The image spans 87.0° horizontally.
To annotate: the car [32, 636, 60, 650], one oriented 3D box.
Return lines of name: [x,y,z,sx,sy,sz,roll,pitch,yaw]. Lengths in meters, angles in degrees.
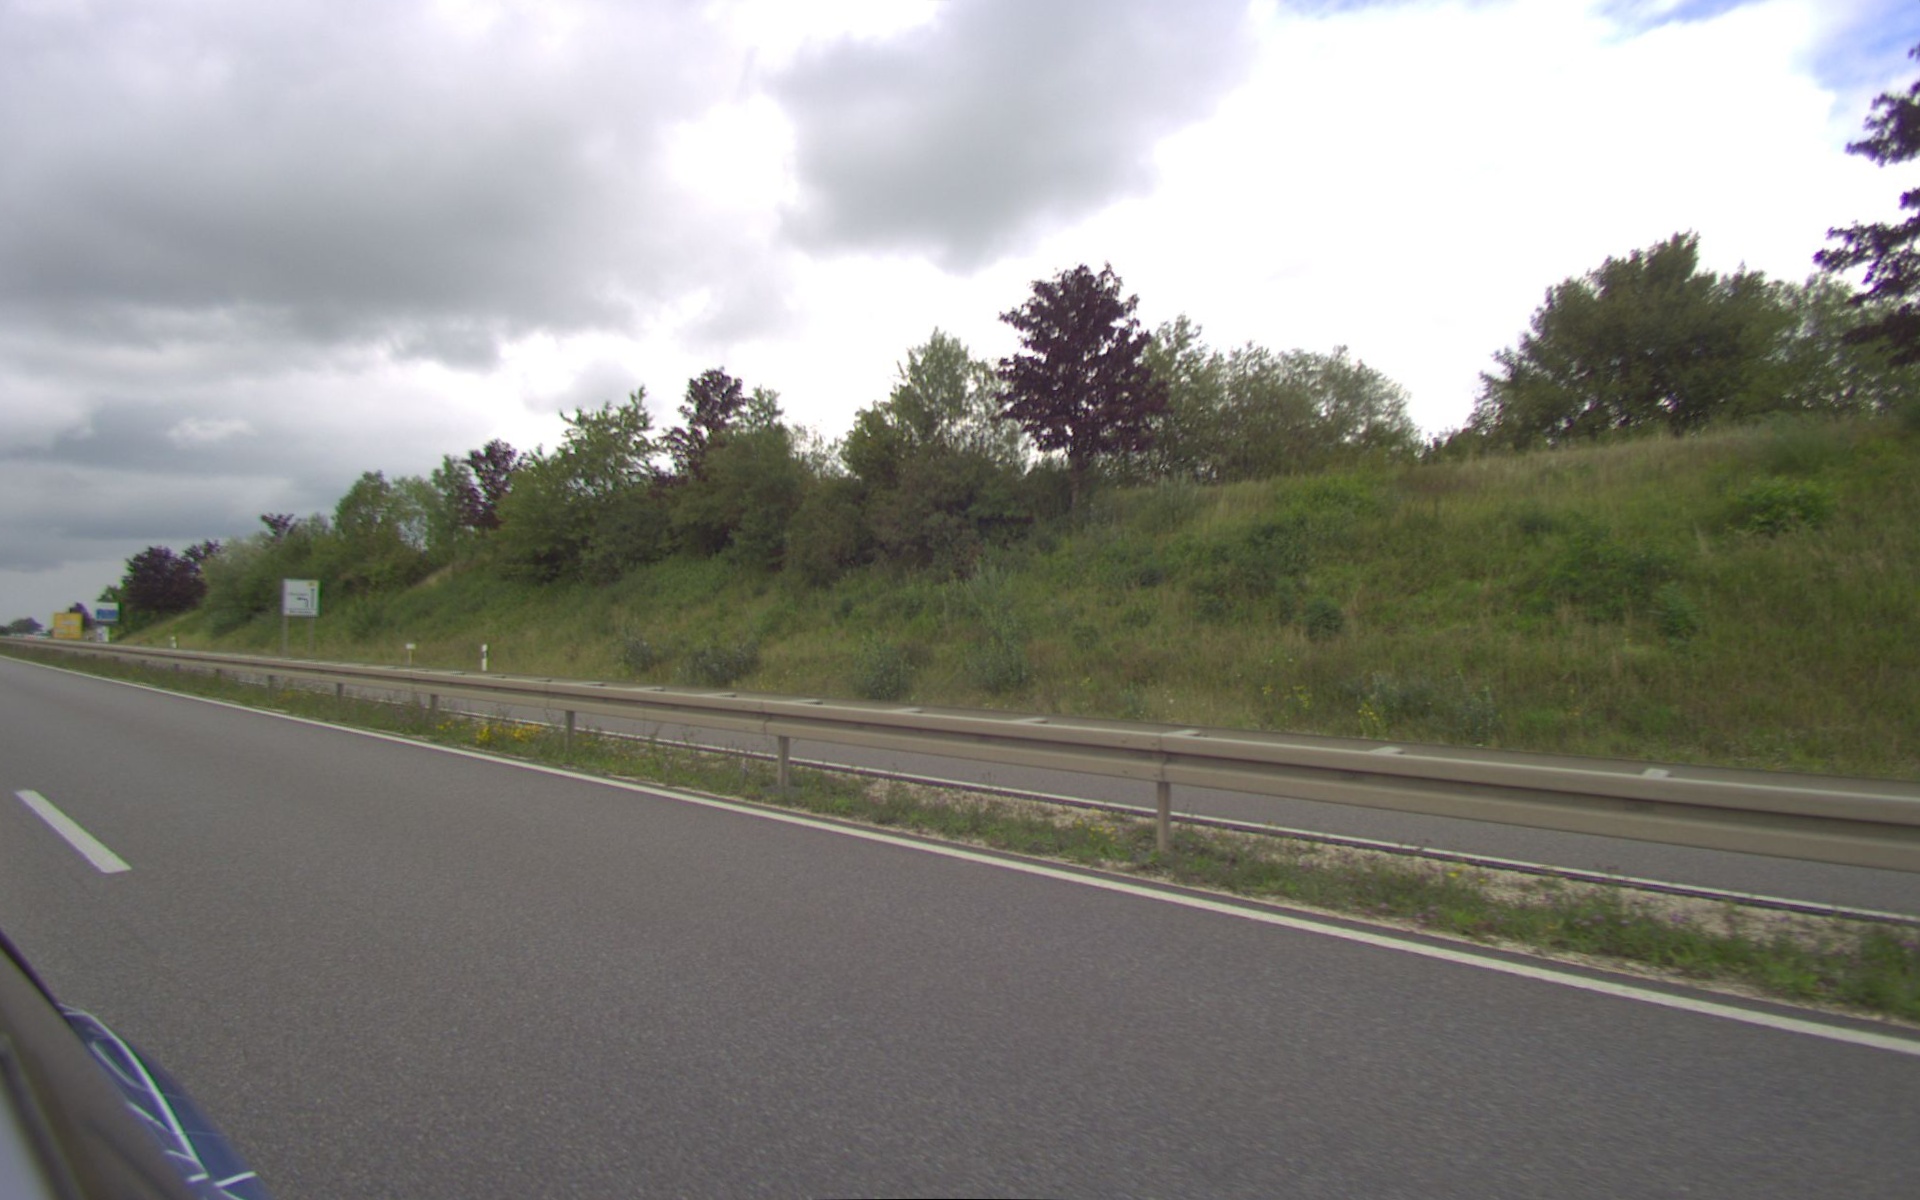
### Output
car: [-106.447,4.988,117.841,4.461,1.529,1.900,-4,-4,42]

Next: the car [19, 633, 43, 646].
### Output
car: [-123.454,5.280,134.510,4.987,1.529,1.972,-4,-4,43]
